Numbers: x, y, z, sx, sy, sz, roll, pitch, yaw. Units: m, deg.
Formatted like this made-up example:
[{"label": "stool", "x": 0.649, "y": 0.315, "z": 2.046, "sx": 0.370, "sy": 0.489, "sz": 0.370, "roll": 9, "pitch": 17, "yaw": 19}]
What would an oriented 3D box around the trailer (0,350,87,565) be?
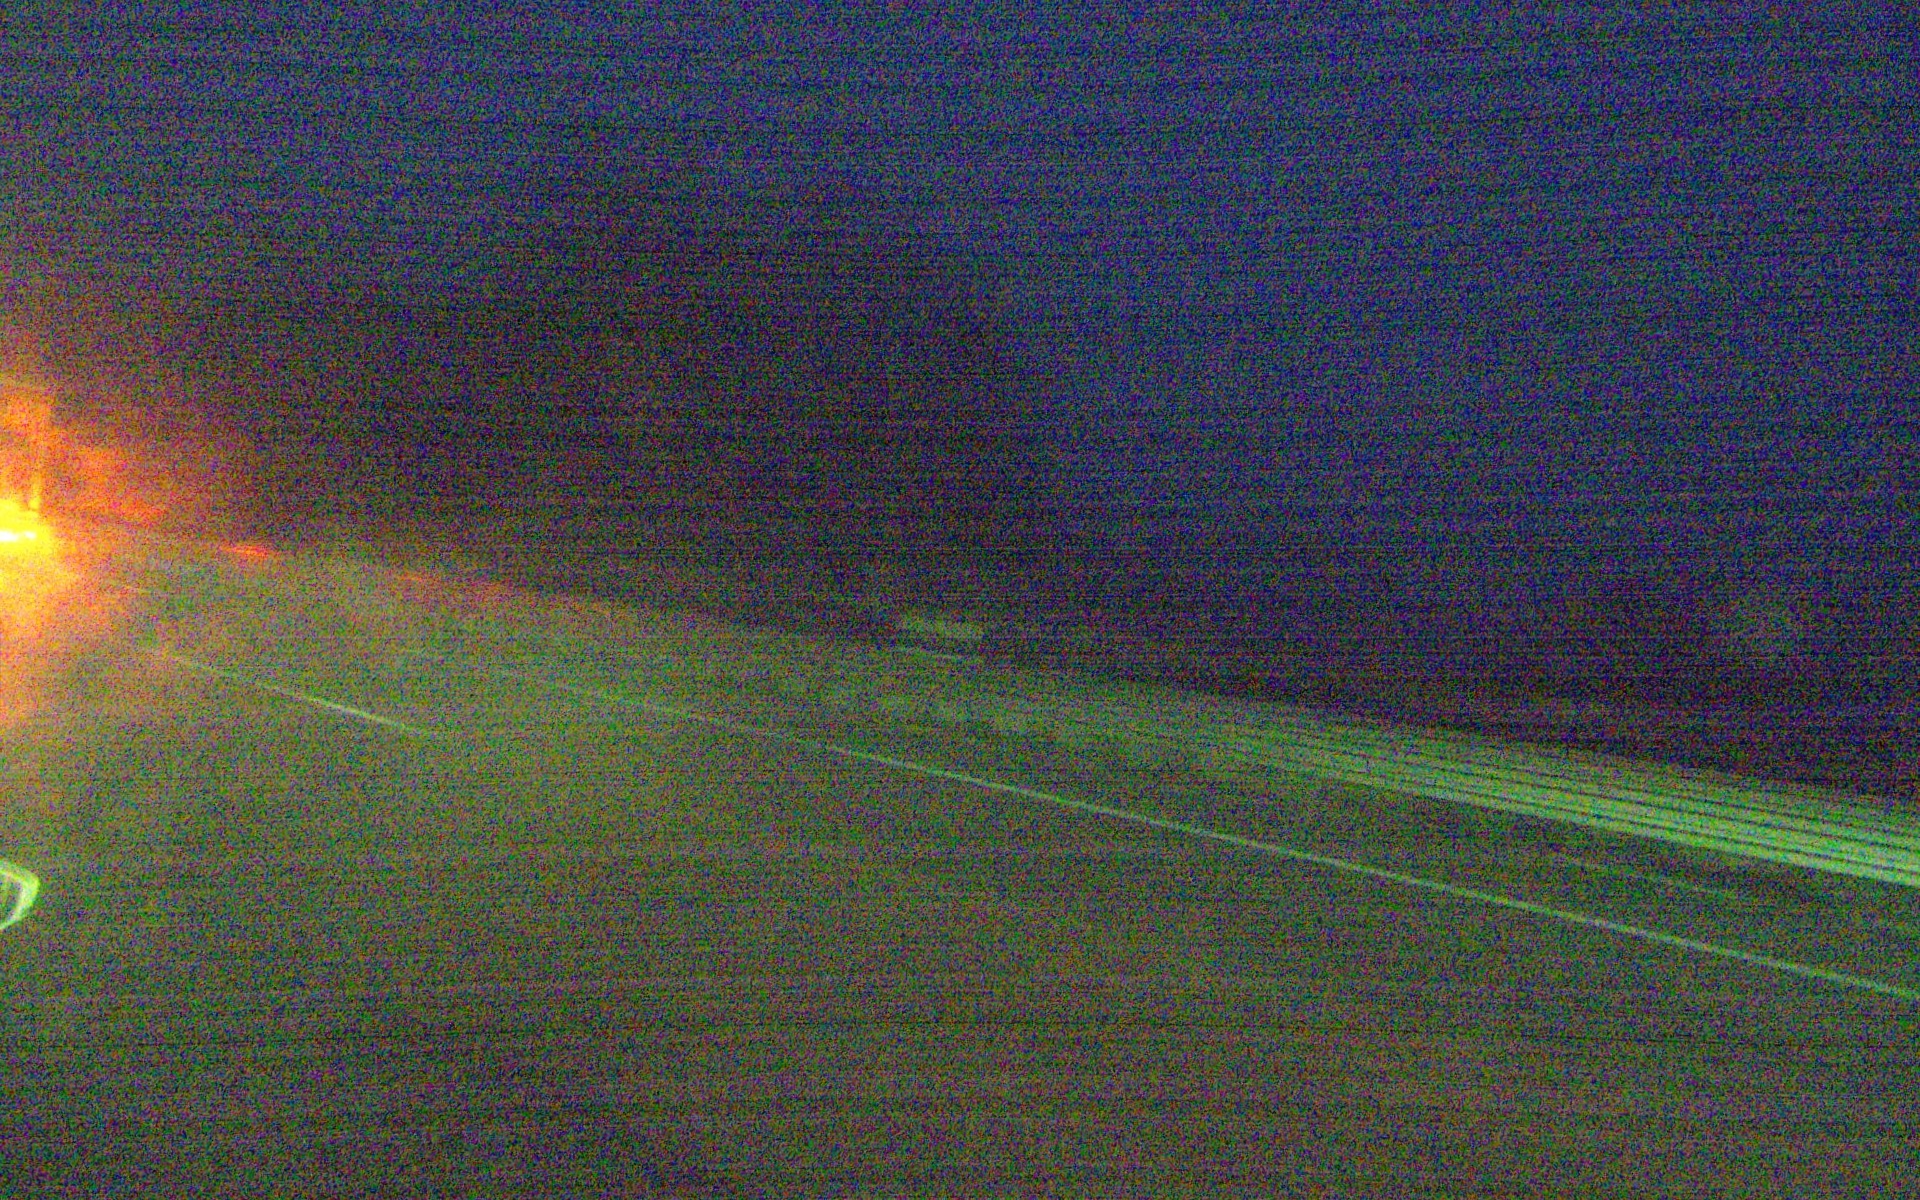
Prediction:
[{"label": "trailer", "x": -25.053, "y": -3.575, "z": 23.375, "sx": 13.597, "sy": 4.162, "sz": 3.043, "roll": 7, "pitch": 1, "yaw": 31}]
